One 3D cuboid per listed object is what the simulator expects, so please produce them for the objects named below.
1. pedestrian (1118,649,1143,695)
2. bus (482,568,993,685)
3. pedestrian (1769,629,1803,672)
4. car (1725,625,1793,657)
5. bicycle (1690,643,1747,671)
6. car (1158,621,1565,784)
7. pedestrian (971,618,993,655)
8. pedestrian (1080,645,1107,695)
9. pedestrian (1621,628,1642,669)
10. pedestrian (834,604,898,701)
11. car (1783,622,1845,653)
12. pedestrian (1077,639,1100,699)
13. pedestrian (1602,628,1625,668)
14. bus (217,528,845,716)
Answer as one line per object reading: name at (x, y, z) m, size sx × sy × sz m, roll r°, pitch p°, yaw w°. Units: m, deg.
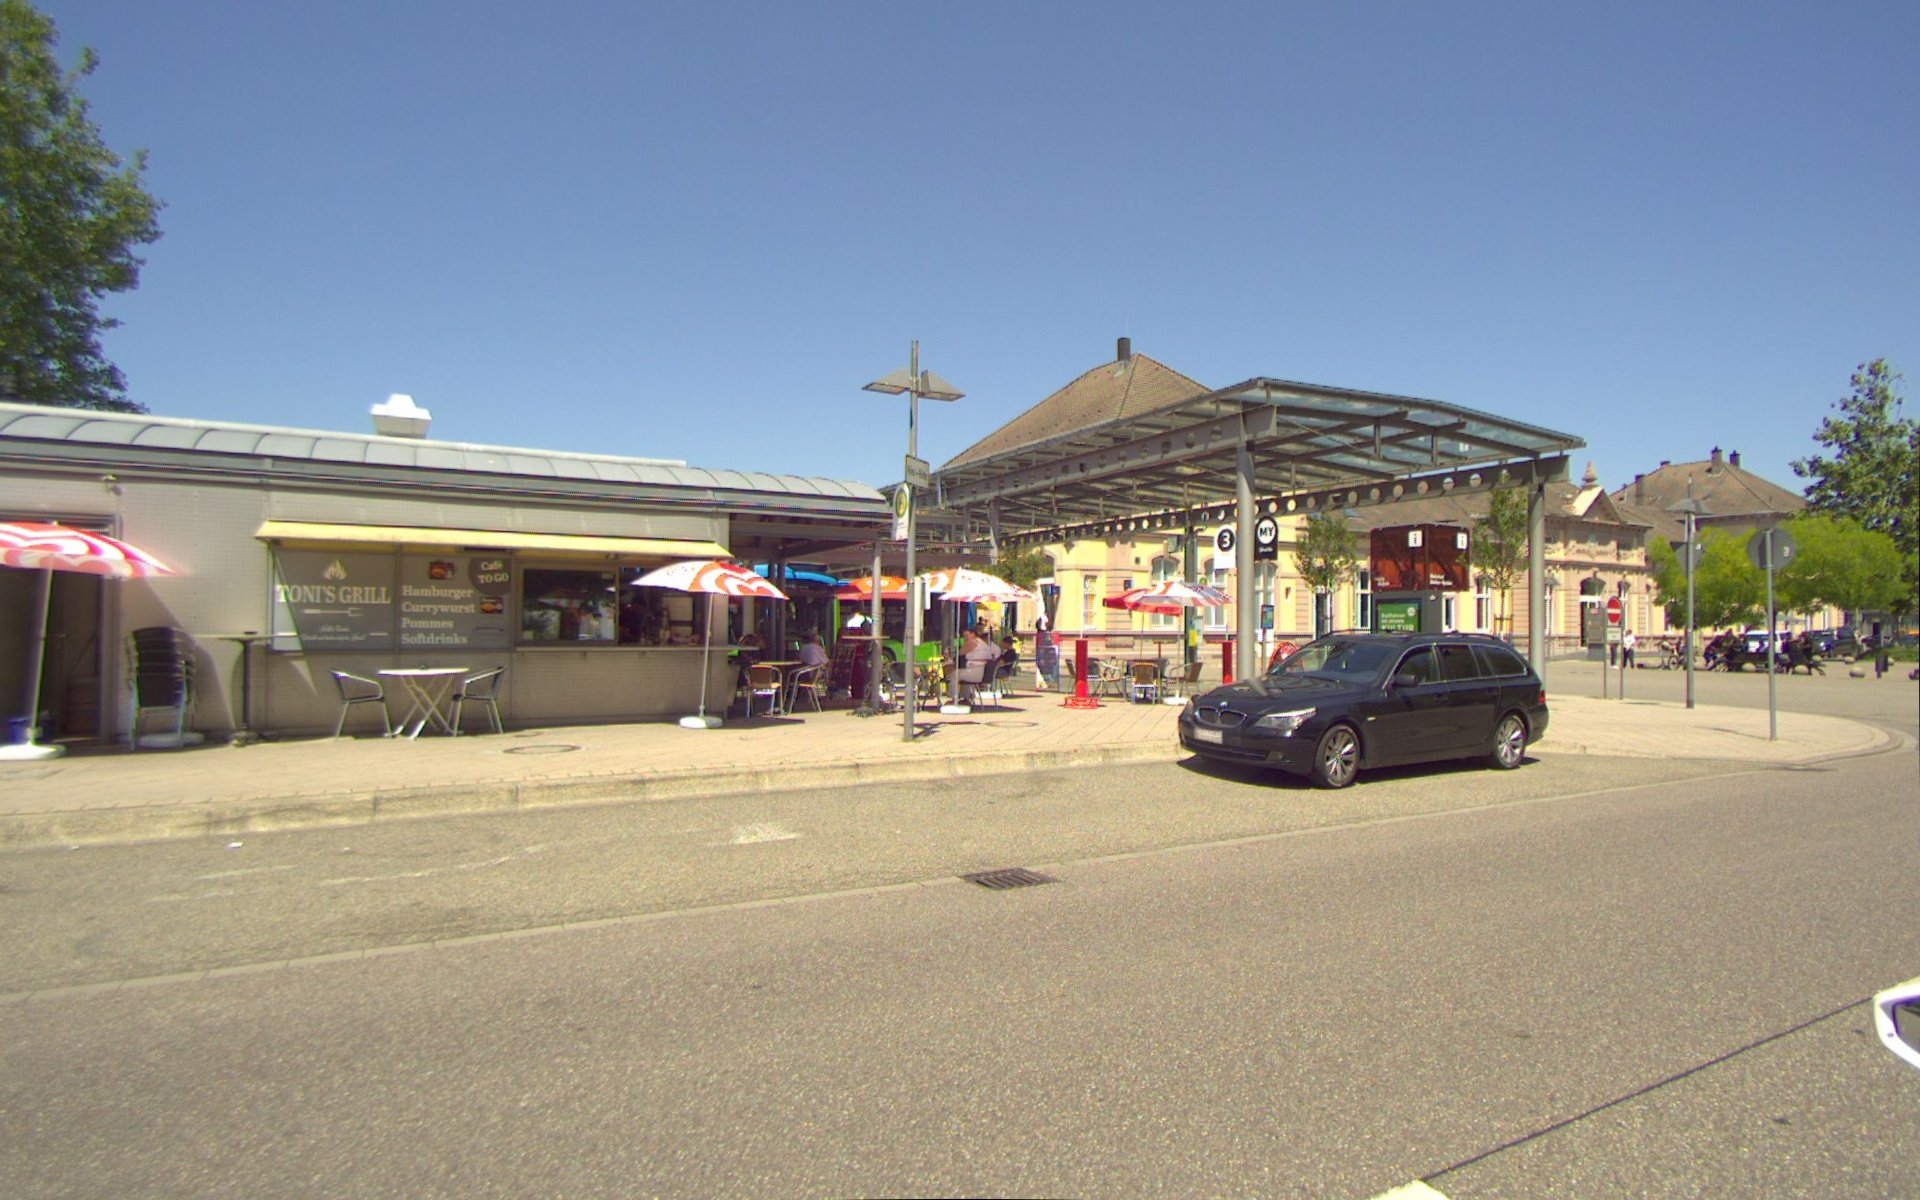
pedestrian at (3.572, 1.498, 21.002) m, size 0.365 × 0.935 × 0.425 m, roll 0°, pitch -3°, yaw 32°
bus at (-6.309, 0.833, 31.161) m, size 15.319 × 3.077 × 2.857 m, roll 1°, pitch -2°, yaw -28°
pedestrian at (32.586, 1.986, 39.619) m, size 0.708 × 1.681 × 0.761 m, roll 2°, pitch -2°, yaw -12°
car at (50.952, 2.601, 64.018) m, size 4.718 × 1.943 × 1.743 m, roll 0°, pitch -1°, yaw -30°
bicycle at (29.655, 2.223, 39.285) m, size 1.770 × 1.044 × 0.487 m, roll 0°, pitch -2°, yaw 38°
car at (4.561, 1.019, 11.187) m, size 4.730 × 1.498 × 1.710 m, roll 2°, pitch -2°, yaw -31°
pedestrian at (1.013, 1.675, 46.556) m, size 0.771 × 1.708 × 0.660 m, roll -1°, pitch 0°, yaw -36°
pedestrian at (2.689, 1.408, 20.251) m, size 0.366 × 0.985 × 0.424 m, roll 2°, pitch -2°, yaw -16°
pedestrian at (28.673, 2.071, 42.909) m, size 0.574 × 1.732 × 0.588 m, roll 1°, pitch -2°, yaw 15°
pedestrian at (-1.883, 1.042, 20.033) m, size 1.122 × 1.851 × 0.800 m, roll 2°, pitch -2°, yaw -12°
car at (57.267, 2.511, 67.383) m, size 3.953 × 2.040 × 1.984 m, roll 1°, pitch -2°, yaw -30°
pedestrian at (2.464, 1.325, 19.284) m, size 0.417 × 1.137 × 0.372 m, roll 1°, pitch -2°, yaw 5°
pedestrian at (28.052, 2.072, 43.097) m, size 0.644 × 1.695 × 0.632 m, roll 1°, pitch -2°, yaw 14°
bus at (-8.458, 0.501, 21.606) m, size 11.698 × 3.275 × 2.954 m, roll 1°, pitch -2°, yaw -28°
